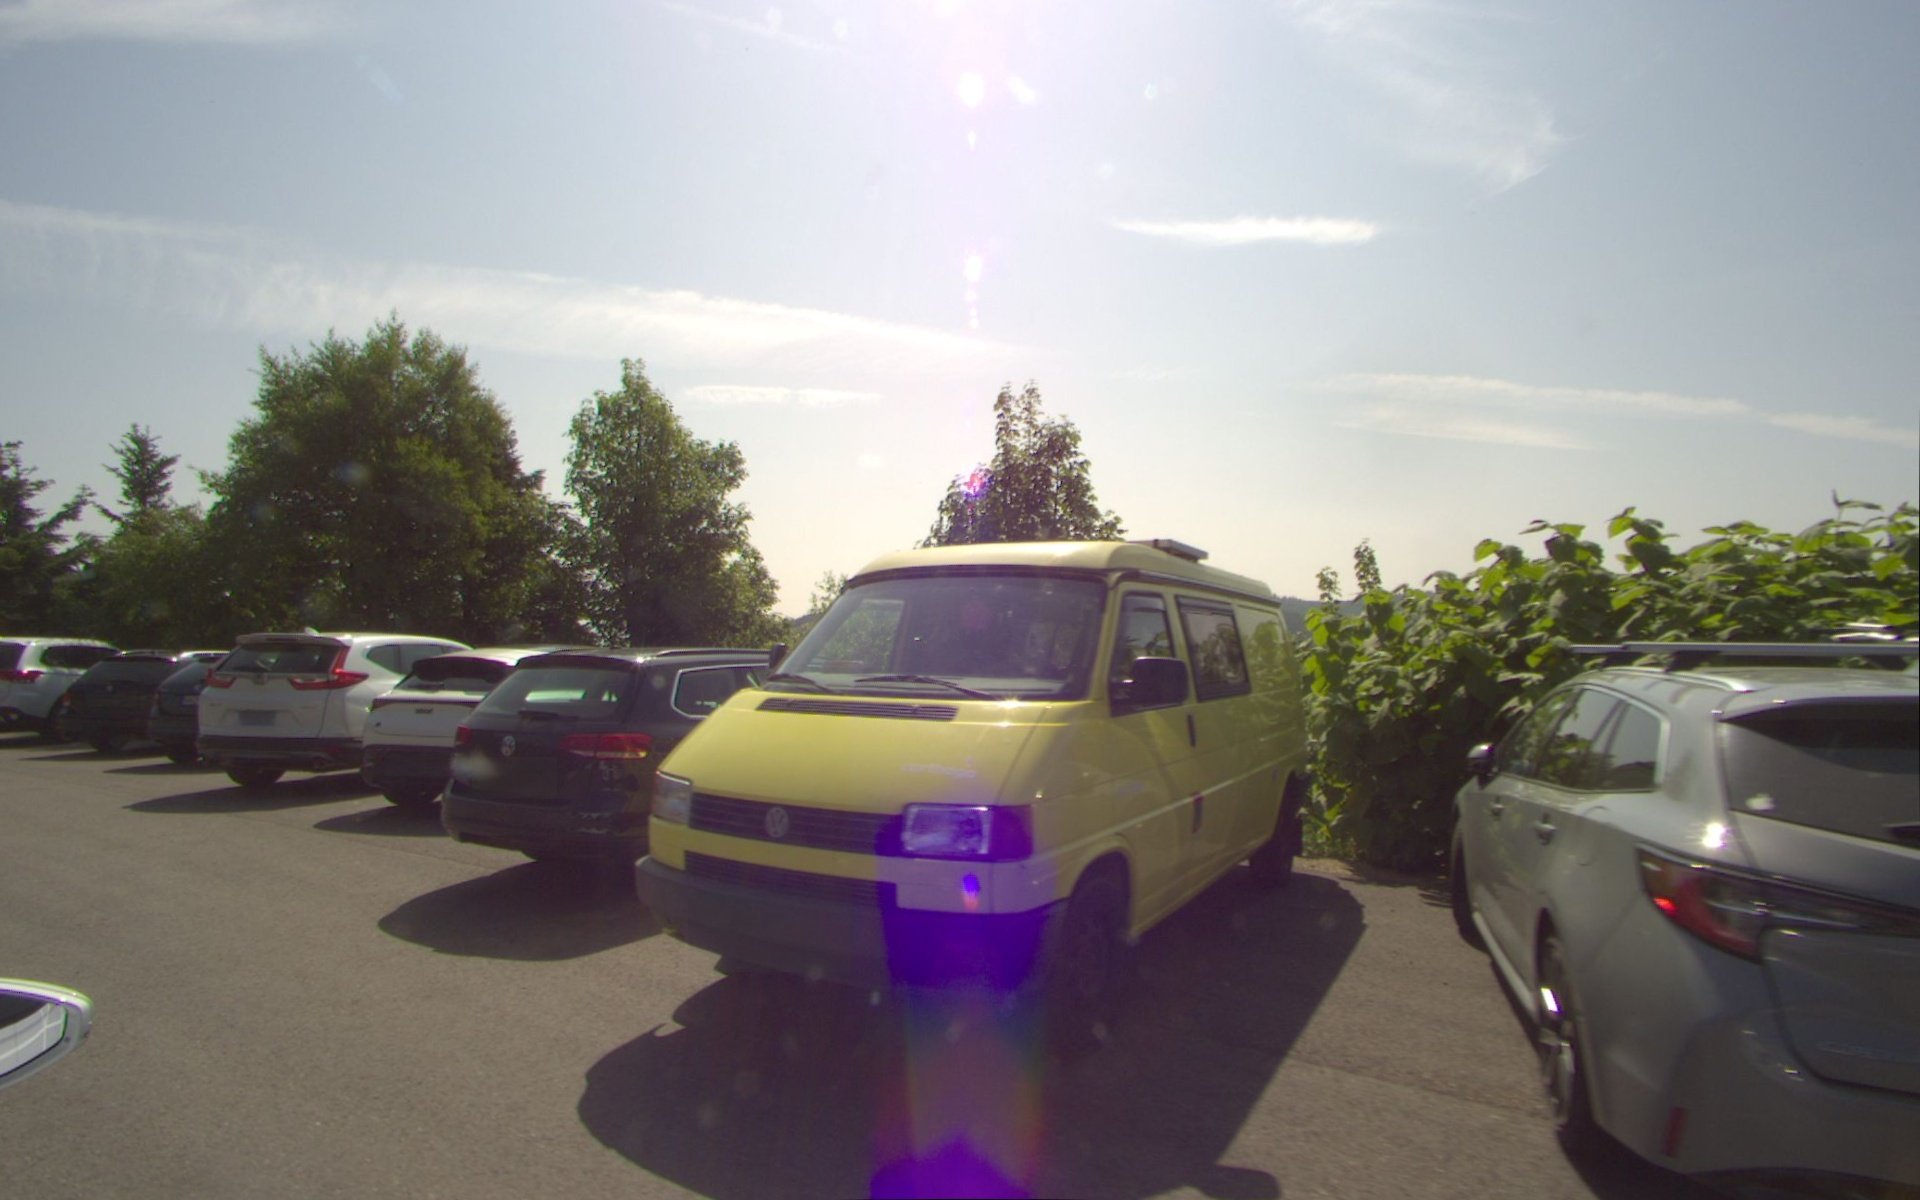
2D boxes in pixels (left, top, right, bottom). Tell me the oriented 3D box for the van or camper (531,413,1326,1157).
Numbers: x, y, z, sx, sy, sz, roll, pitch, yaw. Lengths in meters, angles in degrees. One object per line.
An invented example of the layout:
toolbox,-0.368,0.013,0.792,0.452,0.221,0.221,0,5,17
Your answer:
van or camper,0.529,0.687,5.434,1.854,2.038,5.089,0,-4,30

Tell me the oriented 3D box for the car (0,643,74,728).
car,-18.700,1.562,18.372,1.786,1.567,4.001,1,-4,-11

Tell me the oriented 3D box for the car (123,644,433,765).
car,-9.509,1.447,14.391,1.630,1.476,3.811,1,-4,4

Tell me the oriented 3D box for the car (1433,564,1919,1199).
car,2.934,0.845,3.759,1.675,1.609,4.159,0,-3,20

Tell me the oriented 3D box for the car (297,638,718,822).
car,-4.376,1.203,10.513,1.908,1.518,4.099,-1,-3,13

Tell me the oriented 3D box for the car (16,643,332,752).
car,-12.150,1.511,15.898,1.858,1.478,4.057,1,-4,-2

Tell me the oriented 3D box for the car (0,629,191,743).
car,-15.303,1.404,16.975,1.829,1.715,4.227,1,-4,-11

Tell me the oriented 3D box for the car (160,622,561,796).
car,-6.692,1.216,11.848,1.855,1.669,4.190,0,-4,6

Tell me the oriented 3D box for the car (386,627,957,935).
car,-1.695,0.991,7.502,1.782,1.507,4.353,0,0,23
